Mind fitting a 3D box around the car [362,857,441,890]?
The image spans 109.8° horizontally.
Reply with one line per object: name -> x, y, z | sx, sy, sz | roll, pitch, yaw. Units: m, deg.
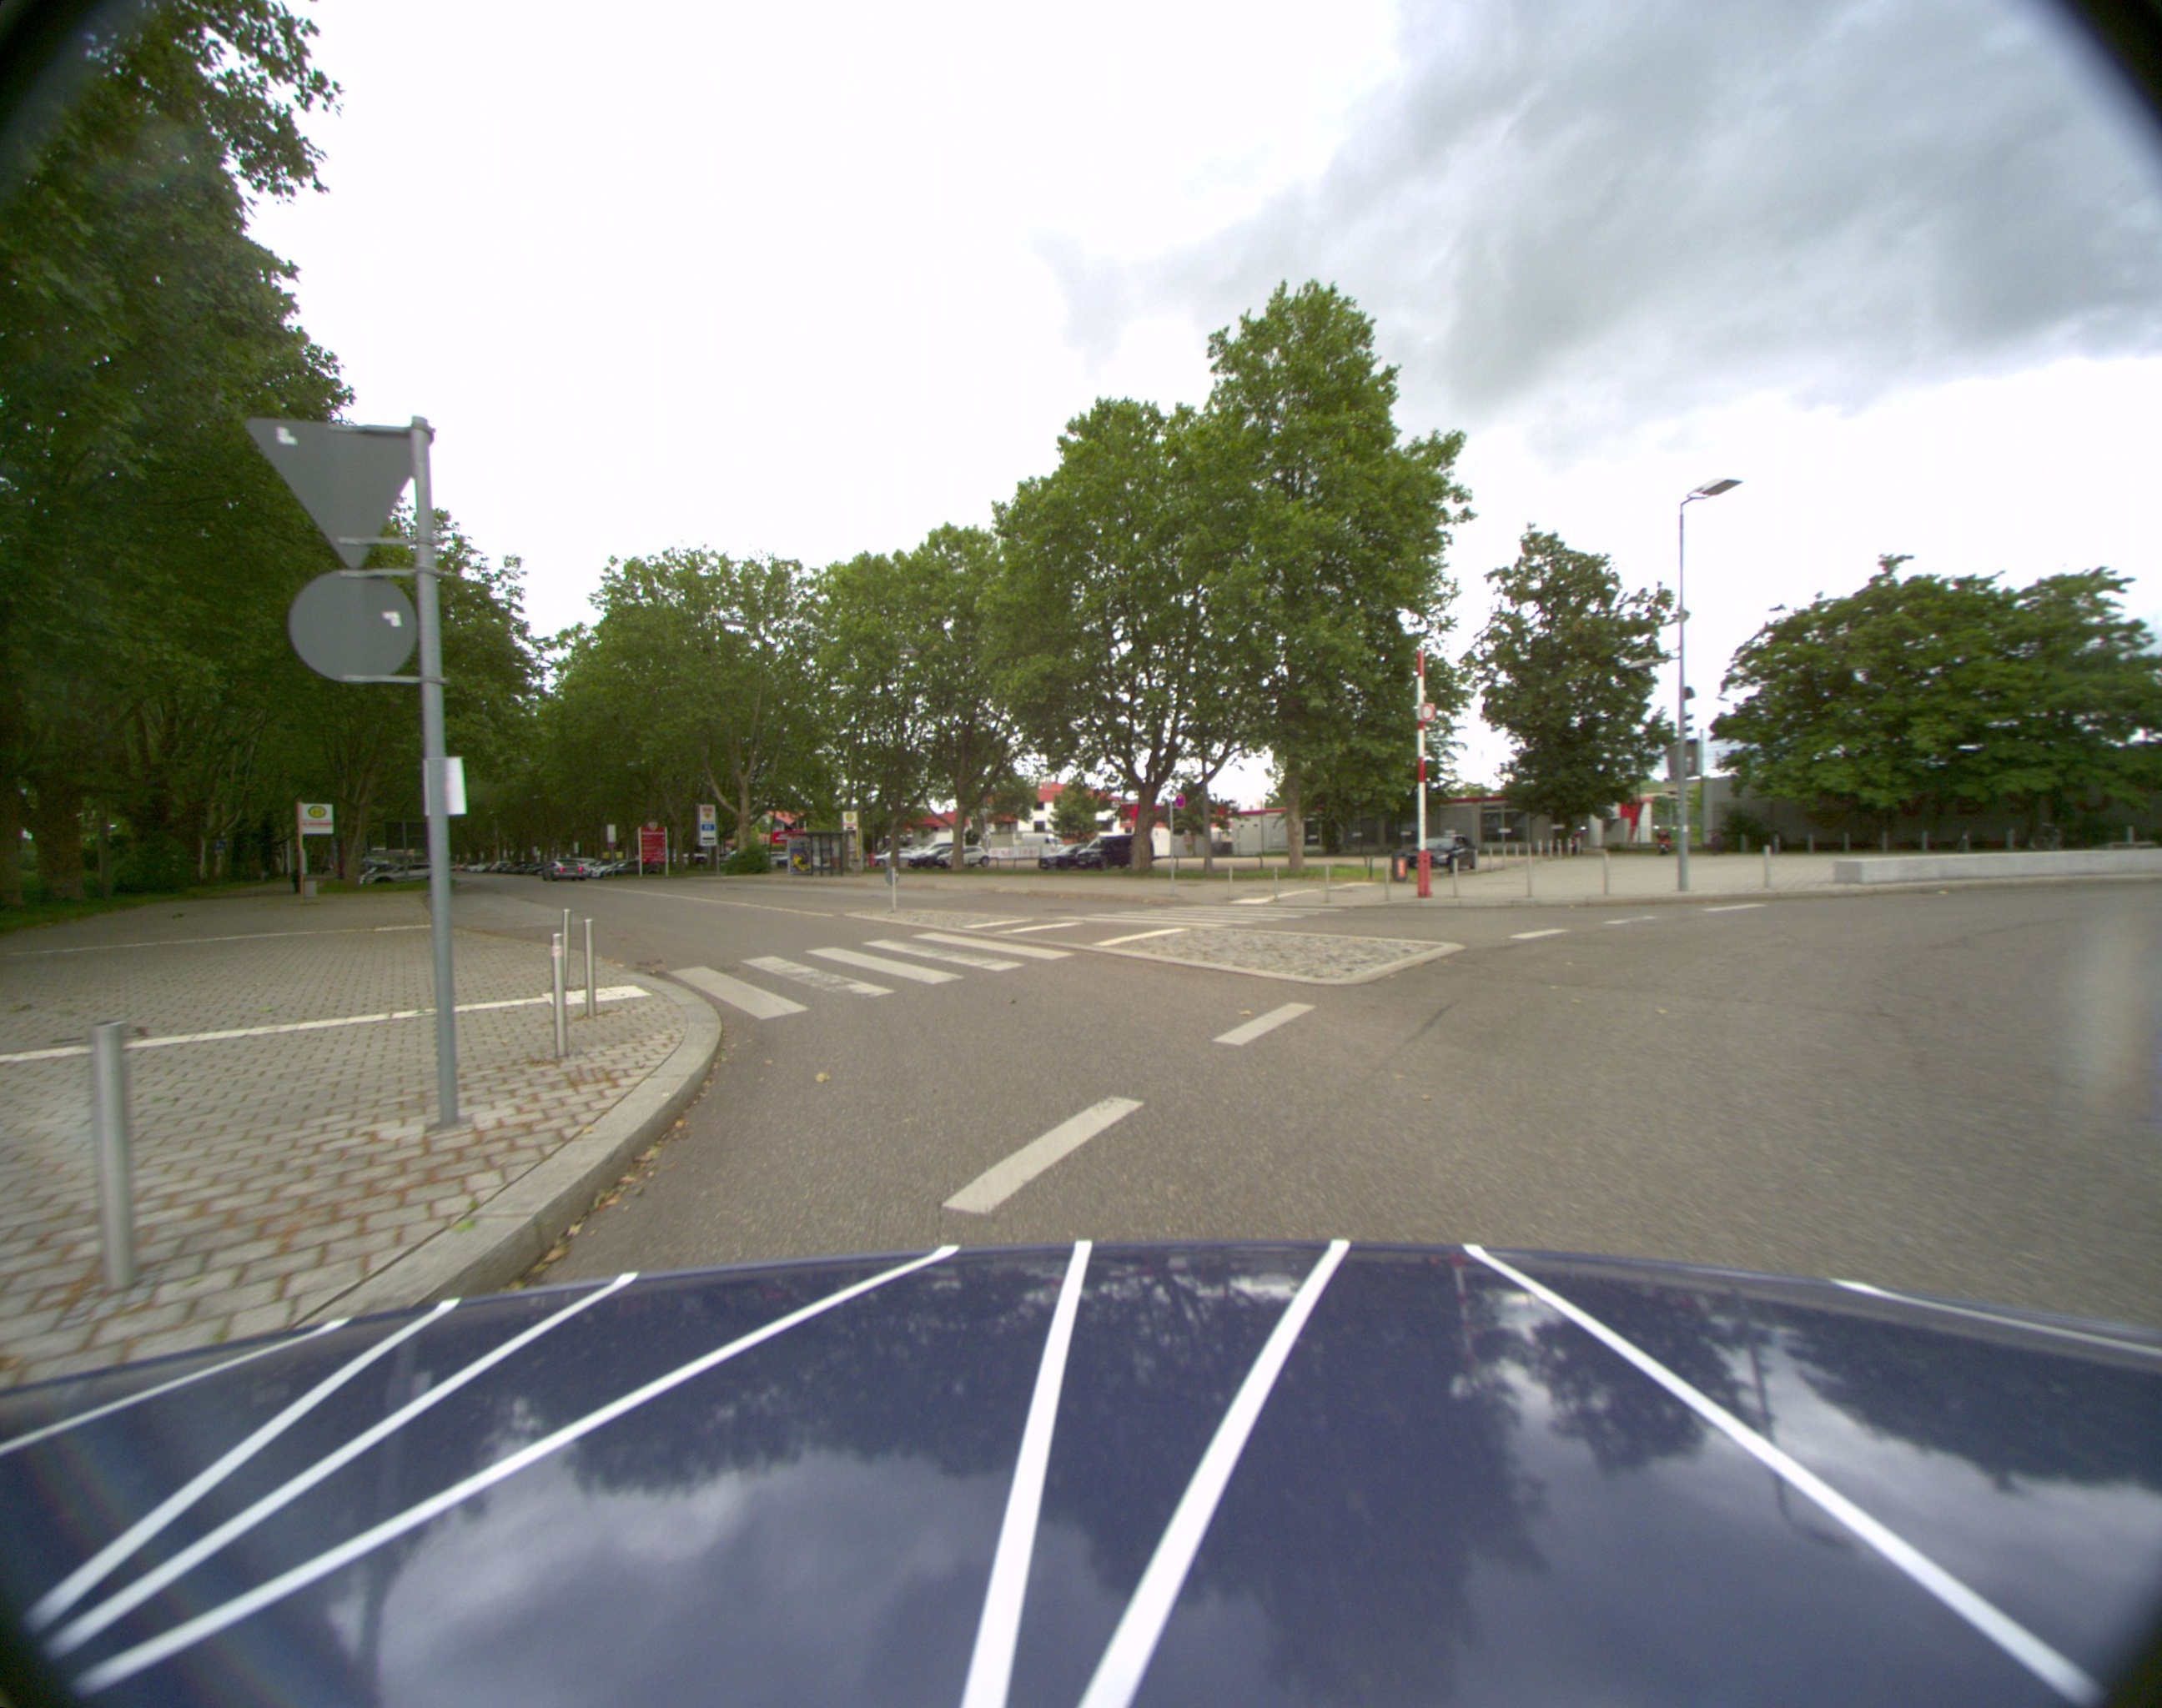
car -> -47.906, 1.375, 53.625 | 4.007, 2.002, 1.994 | -5, 2, -43

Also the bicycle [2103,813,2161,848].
bicycle -> 35.521, -0.803, 25.222 | 0.771, 1.091, 3.197 | -1, 3, 32

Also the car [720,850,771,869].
car -> -36.835, 0.575, 83.519 | 4.541, 1.752, 2.290 | -4, 3, -44

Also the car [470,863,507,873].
car -> -92.072, 2.157, 118.080 | 4.431, 1.416, 1.771 | -1, 0, -45

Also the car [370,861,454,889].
car -> -47.720, 1.472, 54.242 | 4.368, 1.624, 1.920 | -5, 2, -43

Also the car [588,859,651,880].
car -> -36.777, 1.203, 60.596 | 4.014, 1.377, 1.906 | -4, 2, -40

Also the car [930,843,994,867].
car -> -8.391, 0.033, 53.678 | 4.007, 1.514, 1.996 | -4, 2, -43

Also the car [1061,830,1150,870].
car -> 1.440, -0.275, 42.912 | 4.639, 2.014, 2.256 | -4, 2, -41

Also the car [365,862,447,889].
car -> -49.670, 1.571, 55.995 | 4.368, 1.596, 1.920 | -5, 2, -43

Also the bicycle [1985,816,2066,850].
bicycle -> 33.135, -0.762, 26.712 | 0.771, 1.091, 3.197 | -1, 3, 32

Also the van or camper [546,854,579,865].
van or camper -> -110.176, 1.208, 161.388 | 2.238, 2.088, 5.312 | 0, 3, 44

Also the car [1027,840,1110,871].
car -> -0.693, 0.059, 44.964 | 4.649, 1.559, 2.102 | -4, 3, -41

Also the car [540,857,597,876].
car -> -50.673, 1.198, 75.117 | 1.862, 1.799, 4.341 | -1, -1, 43

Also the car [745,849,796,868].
car -> -31.837, 0.471, 77.943 | 4.343, 1.700, 2.126 | -4, 3, -44

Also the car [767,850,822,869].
car -> -27.217, 0.514, 72.323 | 4.343, 1.540, 2.197 | -4, 2, -44

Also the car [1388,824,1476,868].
car -> 13.759, -0.340, 29.633 | 2.226, 1.596, 4.008 | -1, 1, 38

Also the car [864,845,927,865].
car -> -16.414, 0.088, 67.185 | 4.985, 1.543, 2.095 | -3, 2, -29

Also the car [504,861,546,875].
car -> -68.154, 1.711, 93.178 | 3.952, 1.698, 1.747 | -1, 0, -45

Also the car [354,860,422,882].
car -> -63.553, 1.535, 69.722 | 4.368, 1.736, 1.832 | -5, 2, -45

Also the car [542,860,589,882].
car -> -36.406, 1.178, 53.618 | 1.911, 1.444, 4.801 | -1, 0, -45

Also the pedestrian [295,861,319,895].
pedestrian -> -46.392, 1.416, 45.540 | 0.597, 2.002, 0.788 | -1, 3, 31

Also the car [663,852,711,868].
car -> -50.512, 0.745, 97.419 | 2.177, 1.786, 4.967 | -1, 1, 44

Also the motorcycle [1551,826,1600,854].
motorcycle -> 24.063, -0.692, 36.940 | 3.678, 1.215, 0.771 | -3, 2, -37

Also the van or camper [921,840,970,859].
van or camper -> -13.602, -0.475, 76.246 | 4.343, 1.700, 2.126 | -4, 3, -44

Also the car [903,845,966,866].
car -> -10.636, 0.105, 55.311 | 4.007, 1.316, 1.996 | -4, 2, -44

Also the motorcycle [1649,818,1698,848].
motorcycle -> 26.607, -0.959, 34.091 | 3.678, 1.215, 0.771 | -3, 2, -37

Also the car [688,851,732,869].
car -> -45.097, 0.707, 92.471 | 4.343, 1.850, 2.022 | -4, 3, -44

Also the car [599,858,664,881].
car -> -34.885, 1.146, 59.072 | 4.014, 1.532, 1.800 | -4, 2, -42

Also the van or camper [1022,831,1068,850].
van or camper -> -3.966, -1.460, 83.713 | 2.004, 2.002, 5.287 | -4, 3, -44

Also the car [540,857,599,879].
car -> -49.152, 1.317, 73.105 | 4.339, 1.785, 2.031 | -4, 3, -43

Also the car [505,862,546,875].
car -> -69.562, 1.782, 95.117 | 3.951, 1.507, 1.723 | -1, 0, -42
